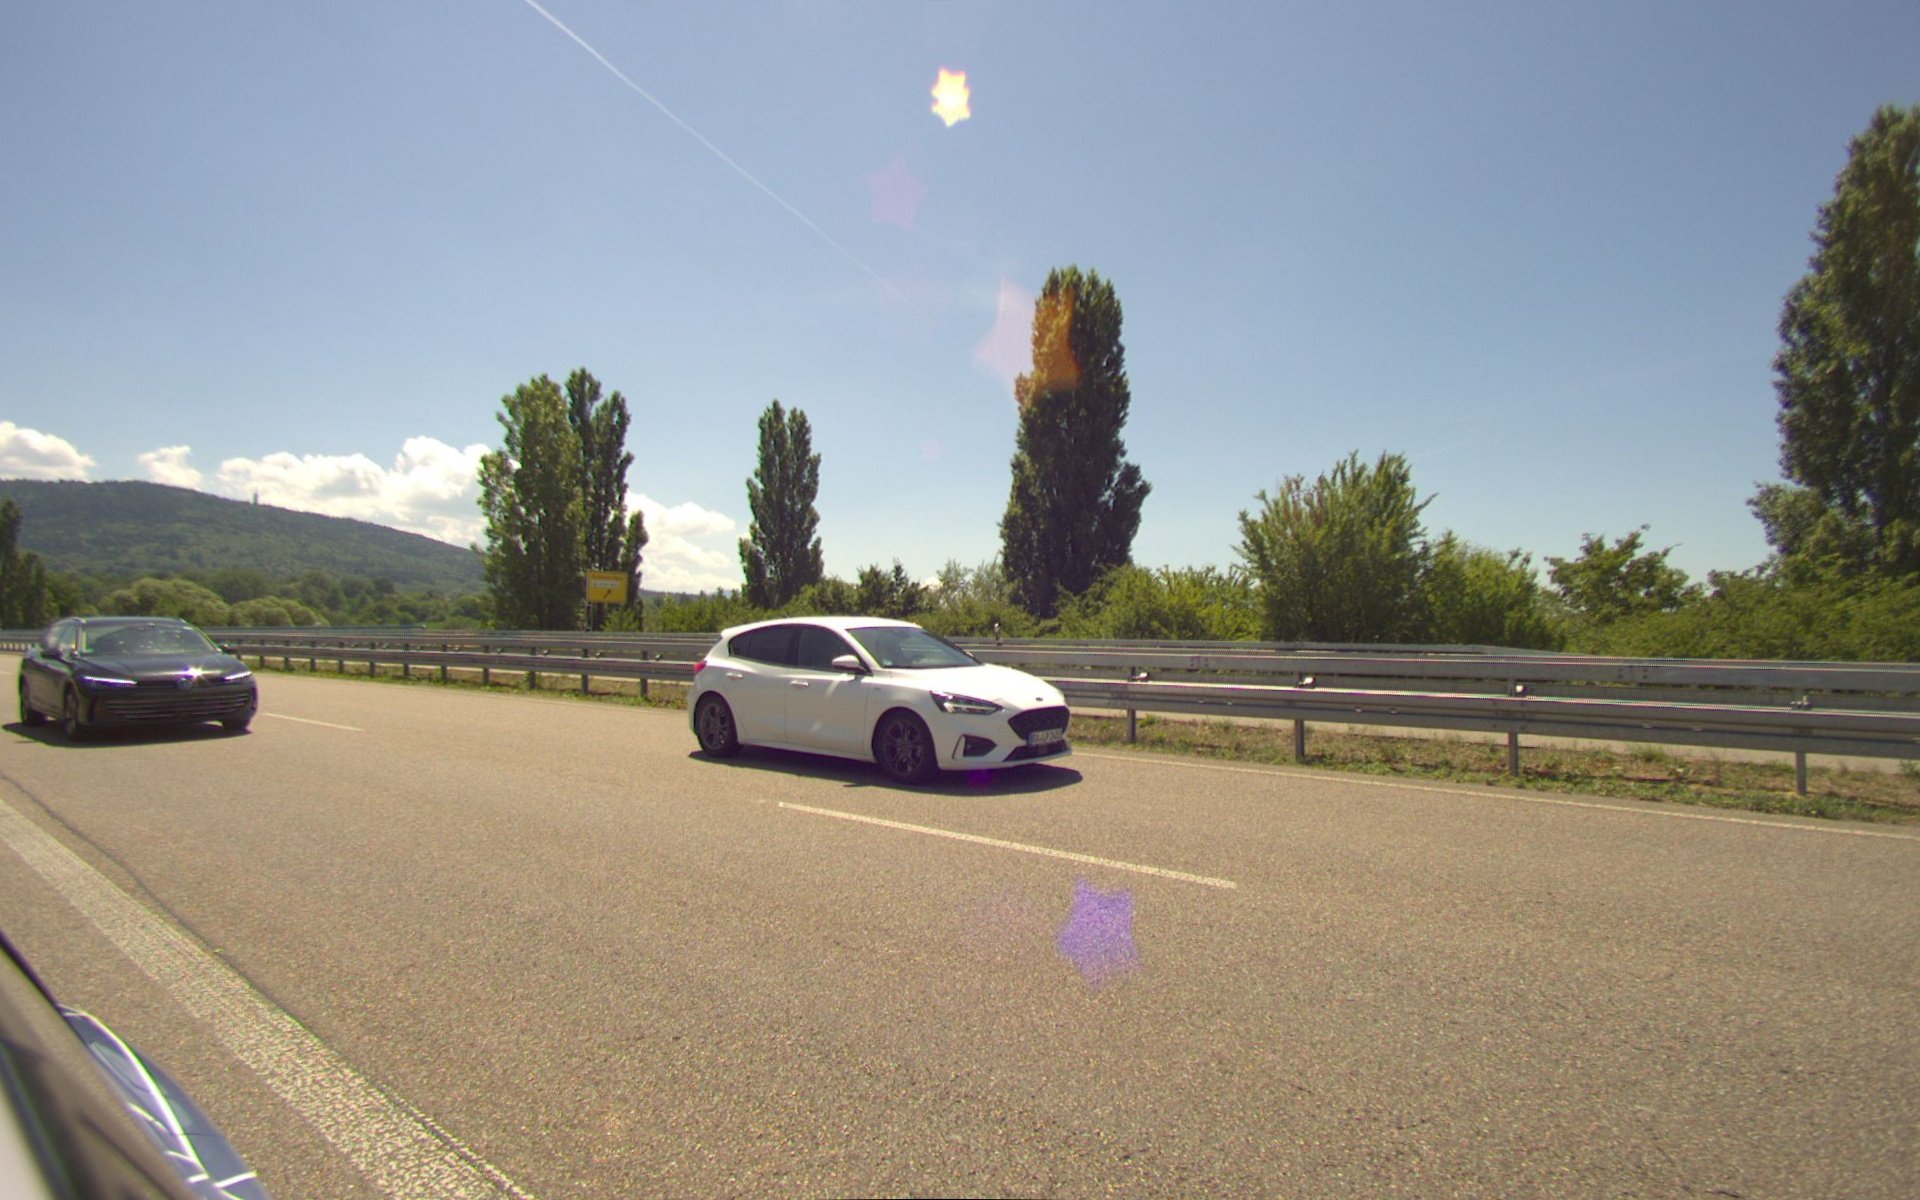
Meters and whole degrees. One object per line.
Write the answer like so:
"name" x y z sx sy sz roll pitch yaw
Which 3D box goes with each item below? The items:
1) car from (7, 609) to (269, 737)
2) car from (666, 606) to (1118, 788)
"car" -10.920 0.852 13.339 4.465 1.418 1.823 -1 -1 39
"car" -0.832 0.791 10.056 4.465 1.418 1.823 -1 -1 39
